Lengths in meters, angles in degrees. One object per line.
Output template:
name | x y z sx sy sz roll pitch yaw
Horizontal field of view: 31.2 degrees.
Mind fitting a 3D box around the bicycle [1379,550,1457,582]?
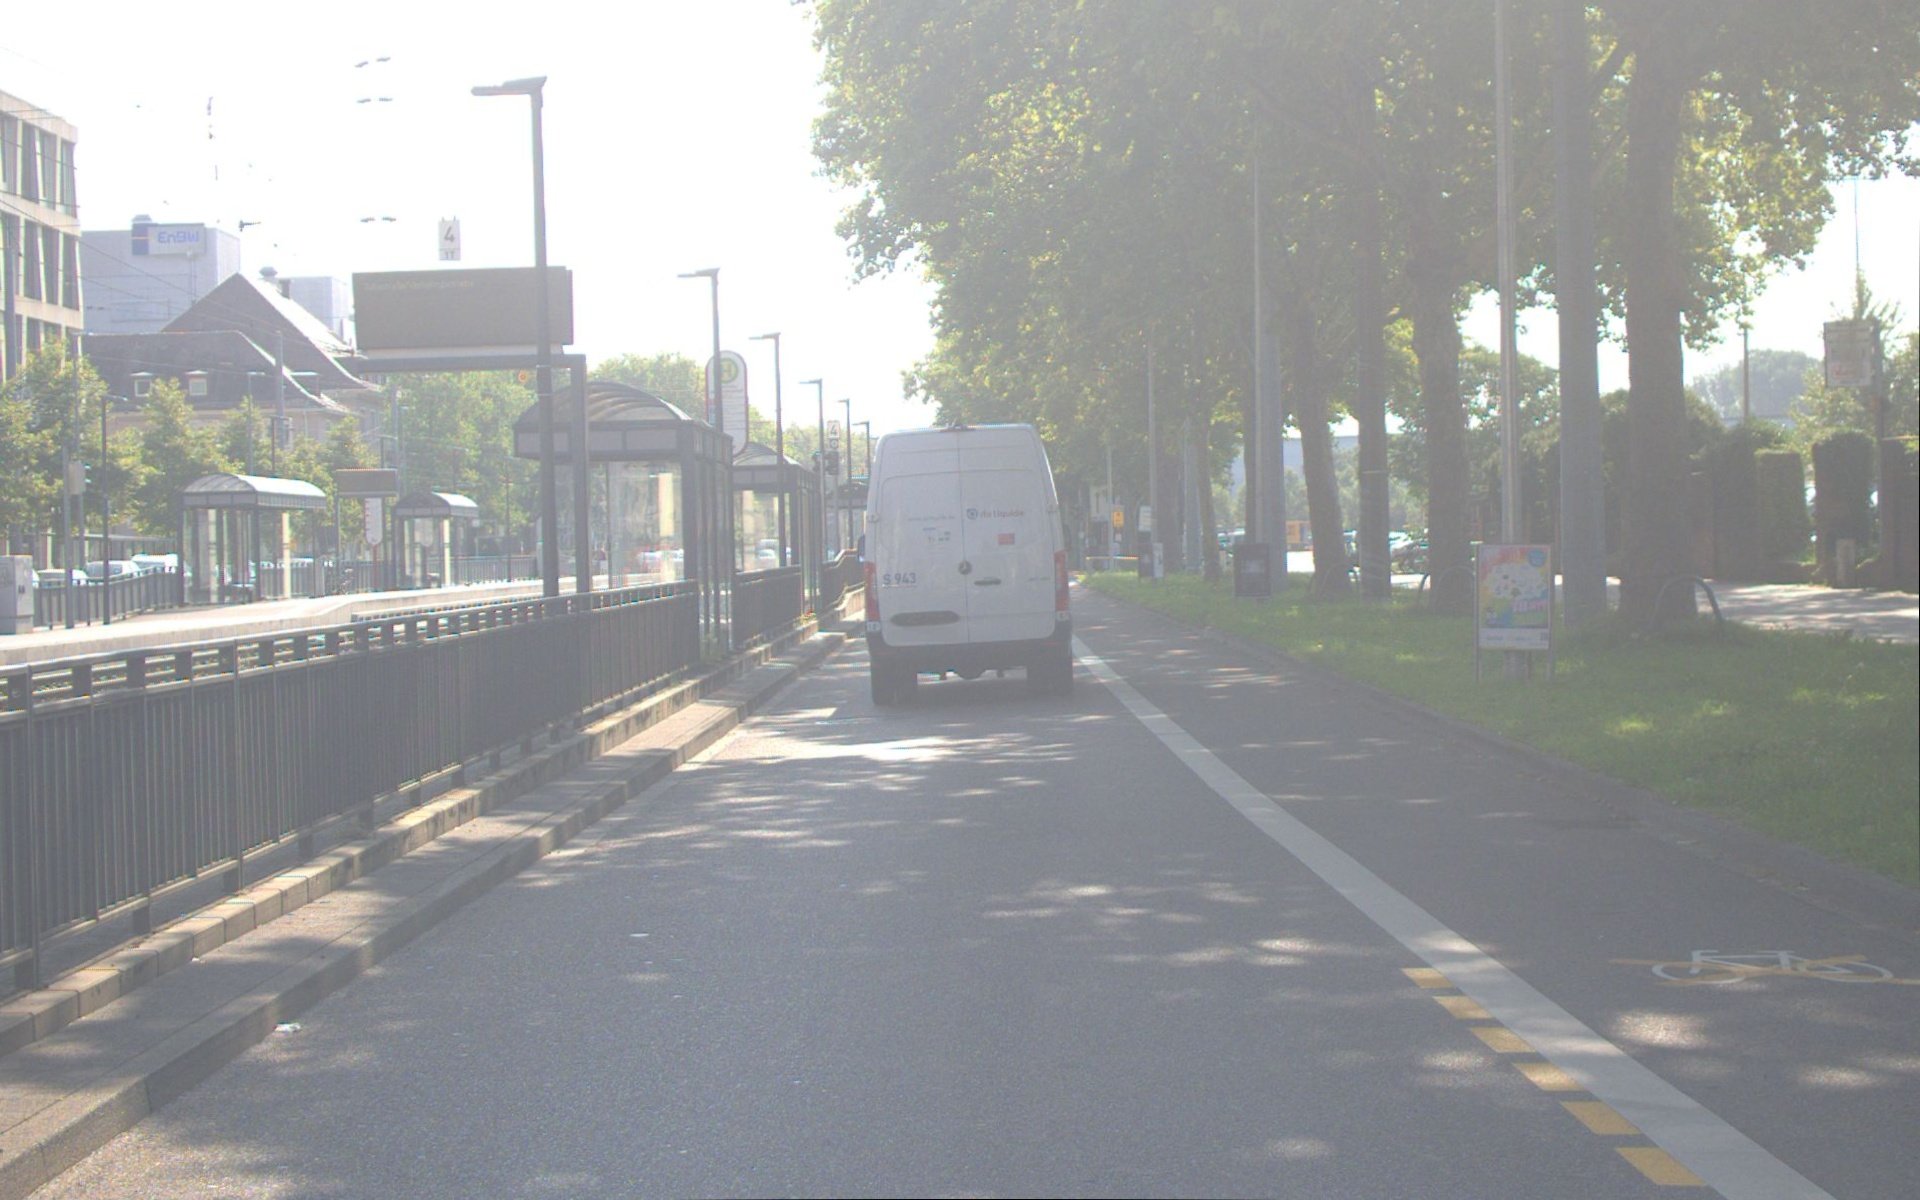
bicycle | 13.258 -0.979 99.498 2.180 0.844 0.503 -2 1 1

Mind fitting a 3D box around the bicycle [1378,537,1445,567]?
bicycle | 13.456 -1.423 102.403 1.932 0.844 0.372 -2 1 1

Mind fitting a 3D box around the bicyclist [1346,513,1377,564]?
bicyclist | 10.269 -1.574 87.981 0.669 1.272 0.728 -2 1 -1

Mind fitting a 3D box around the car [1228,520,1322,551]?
car | 13.952 -2.854 152.578 3.987 1.371 2.000 0 0 0

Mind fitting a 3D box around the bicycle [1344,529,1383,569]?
bicycle | 10.316 -1.307 87.954 0.681 1.001 2.218 -2 1 -1

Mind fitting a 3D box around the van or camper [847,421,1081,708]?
van or camper | -0.046 -0.375 34.726 2.115 2.673 5.251 0 1 -3
